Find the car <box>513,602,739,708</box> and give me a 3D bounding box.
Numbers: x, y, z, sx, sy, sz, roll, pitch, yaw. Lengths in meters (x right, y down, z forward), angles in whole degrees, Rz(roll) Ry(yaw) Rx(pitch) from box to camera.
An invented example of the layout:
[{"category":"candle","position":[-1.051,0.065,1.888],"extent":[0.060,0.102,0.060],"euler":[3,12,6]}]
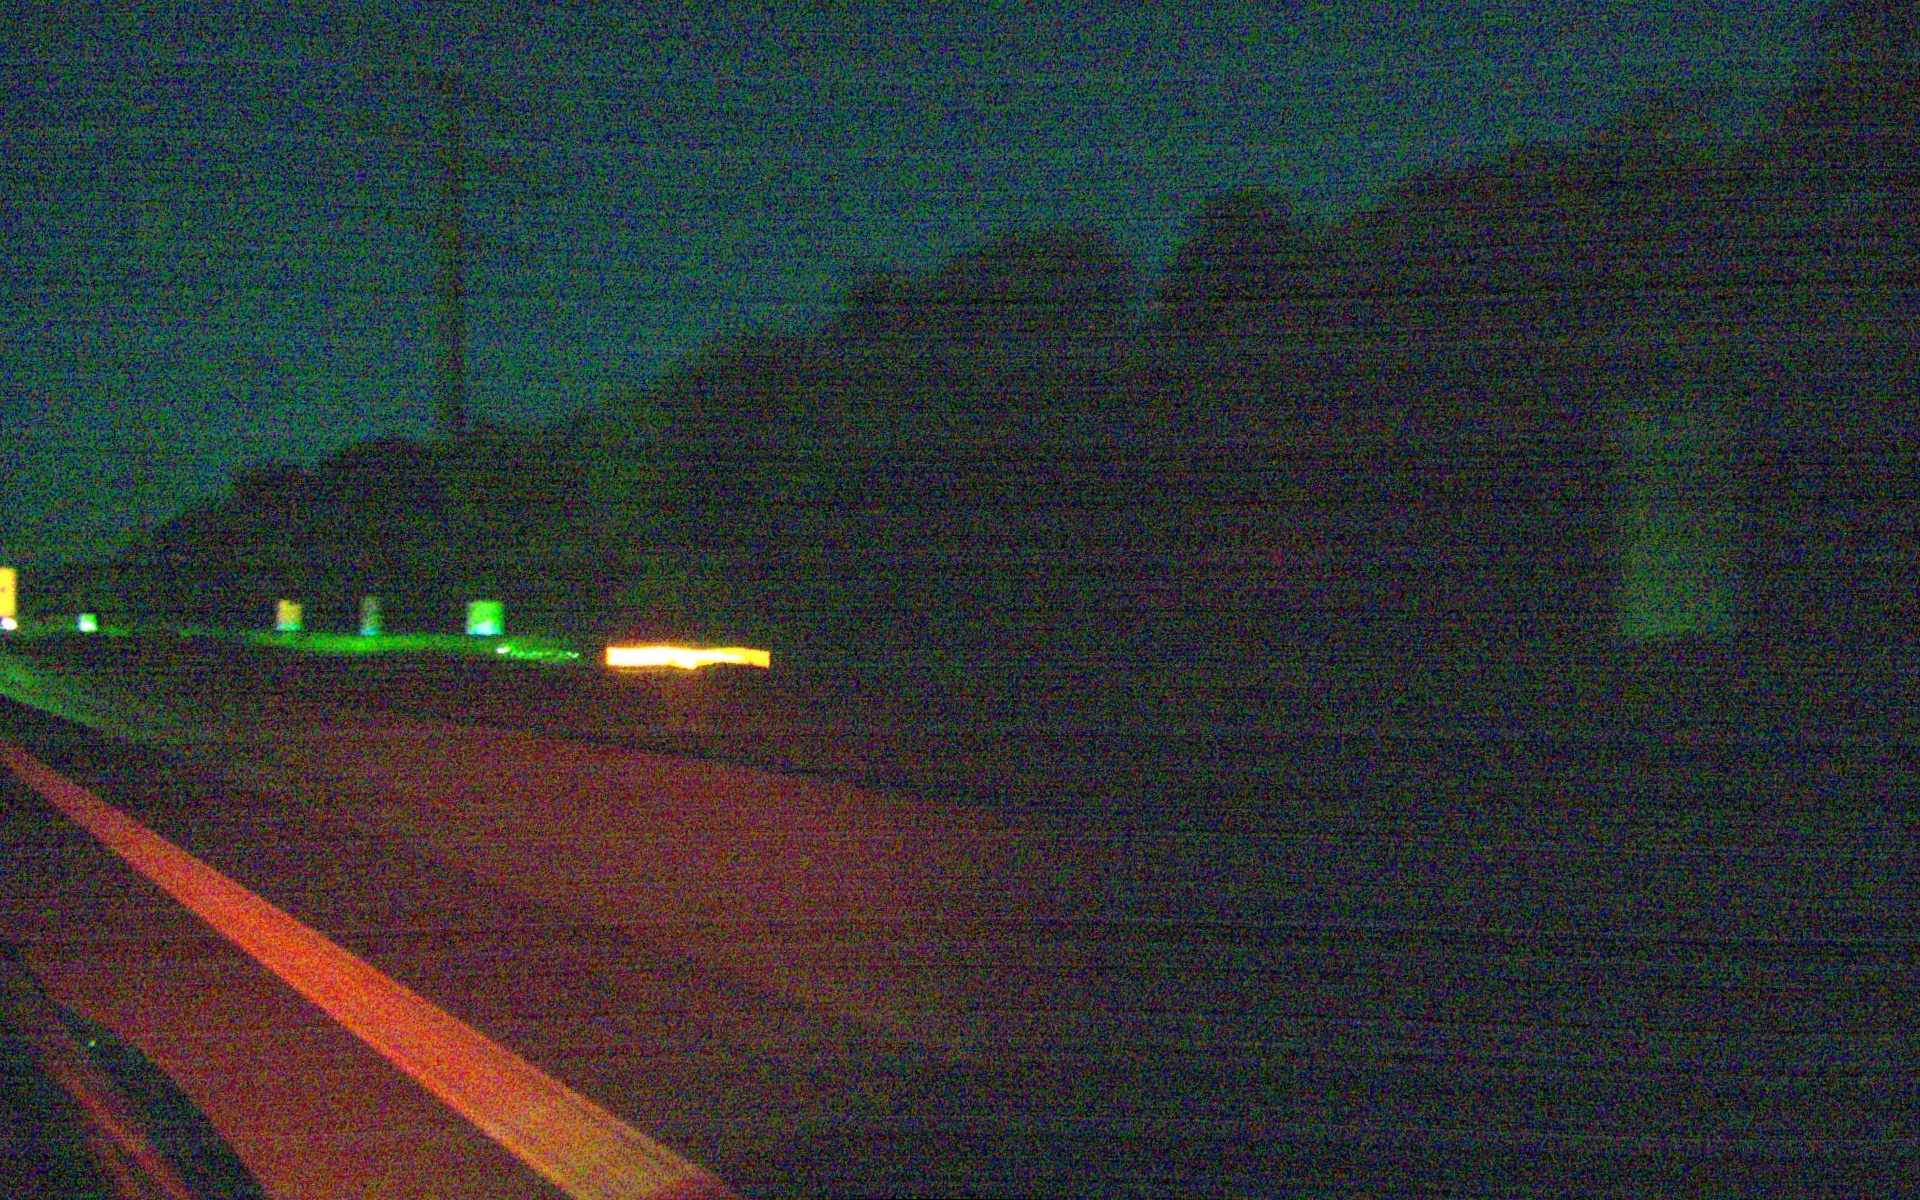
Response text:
[{"category":"car","position":[-7.075,1.144,21.096],"extent":[5.452,1.937,1.888],"euler":[-3,-4,40]}]
